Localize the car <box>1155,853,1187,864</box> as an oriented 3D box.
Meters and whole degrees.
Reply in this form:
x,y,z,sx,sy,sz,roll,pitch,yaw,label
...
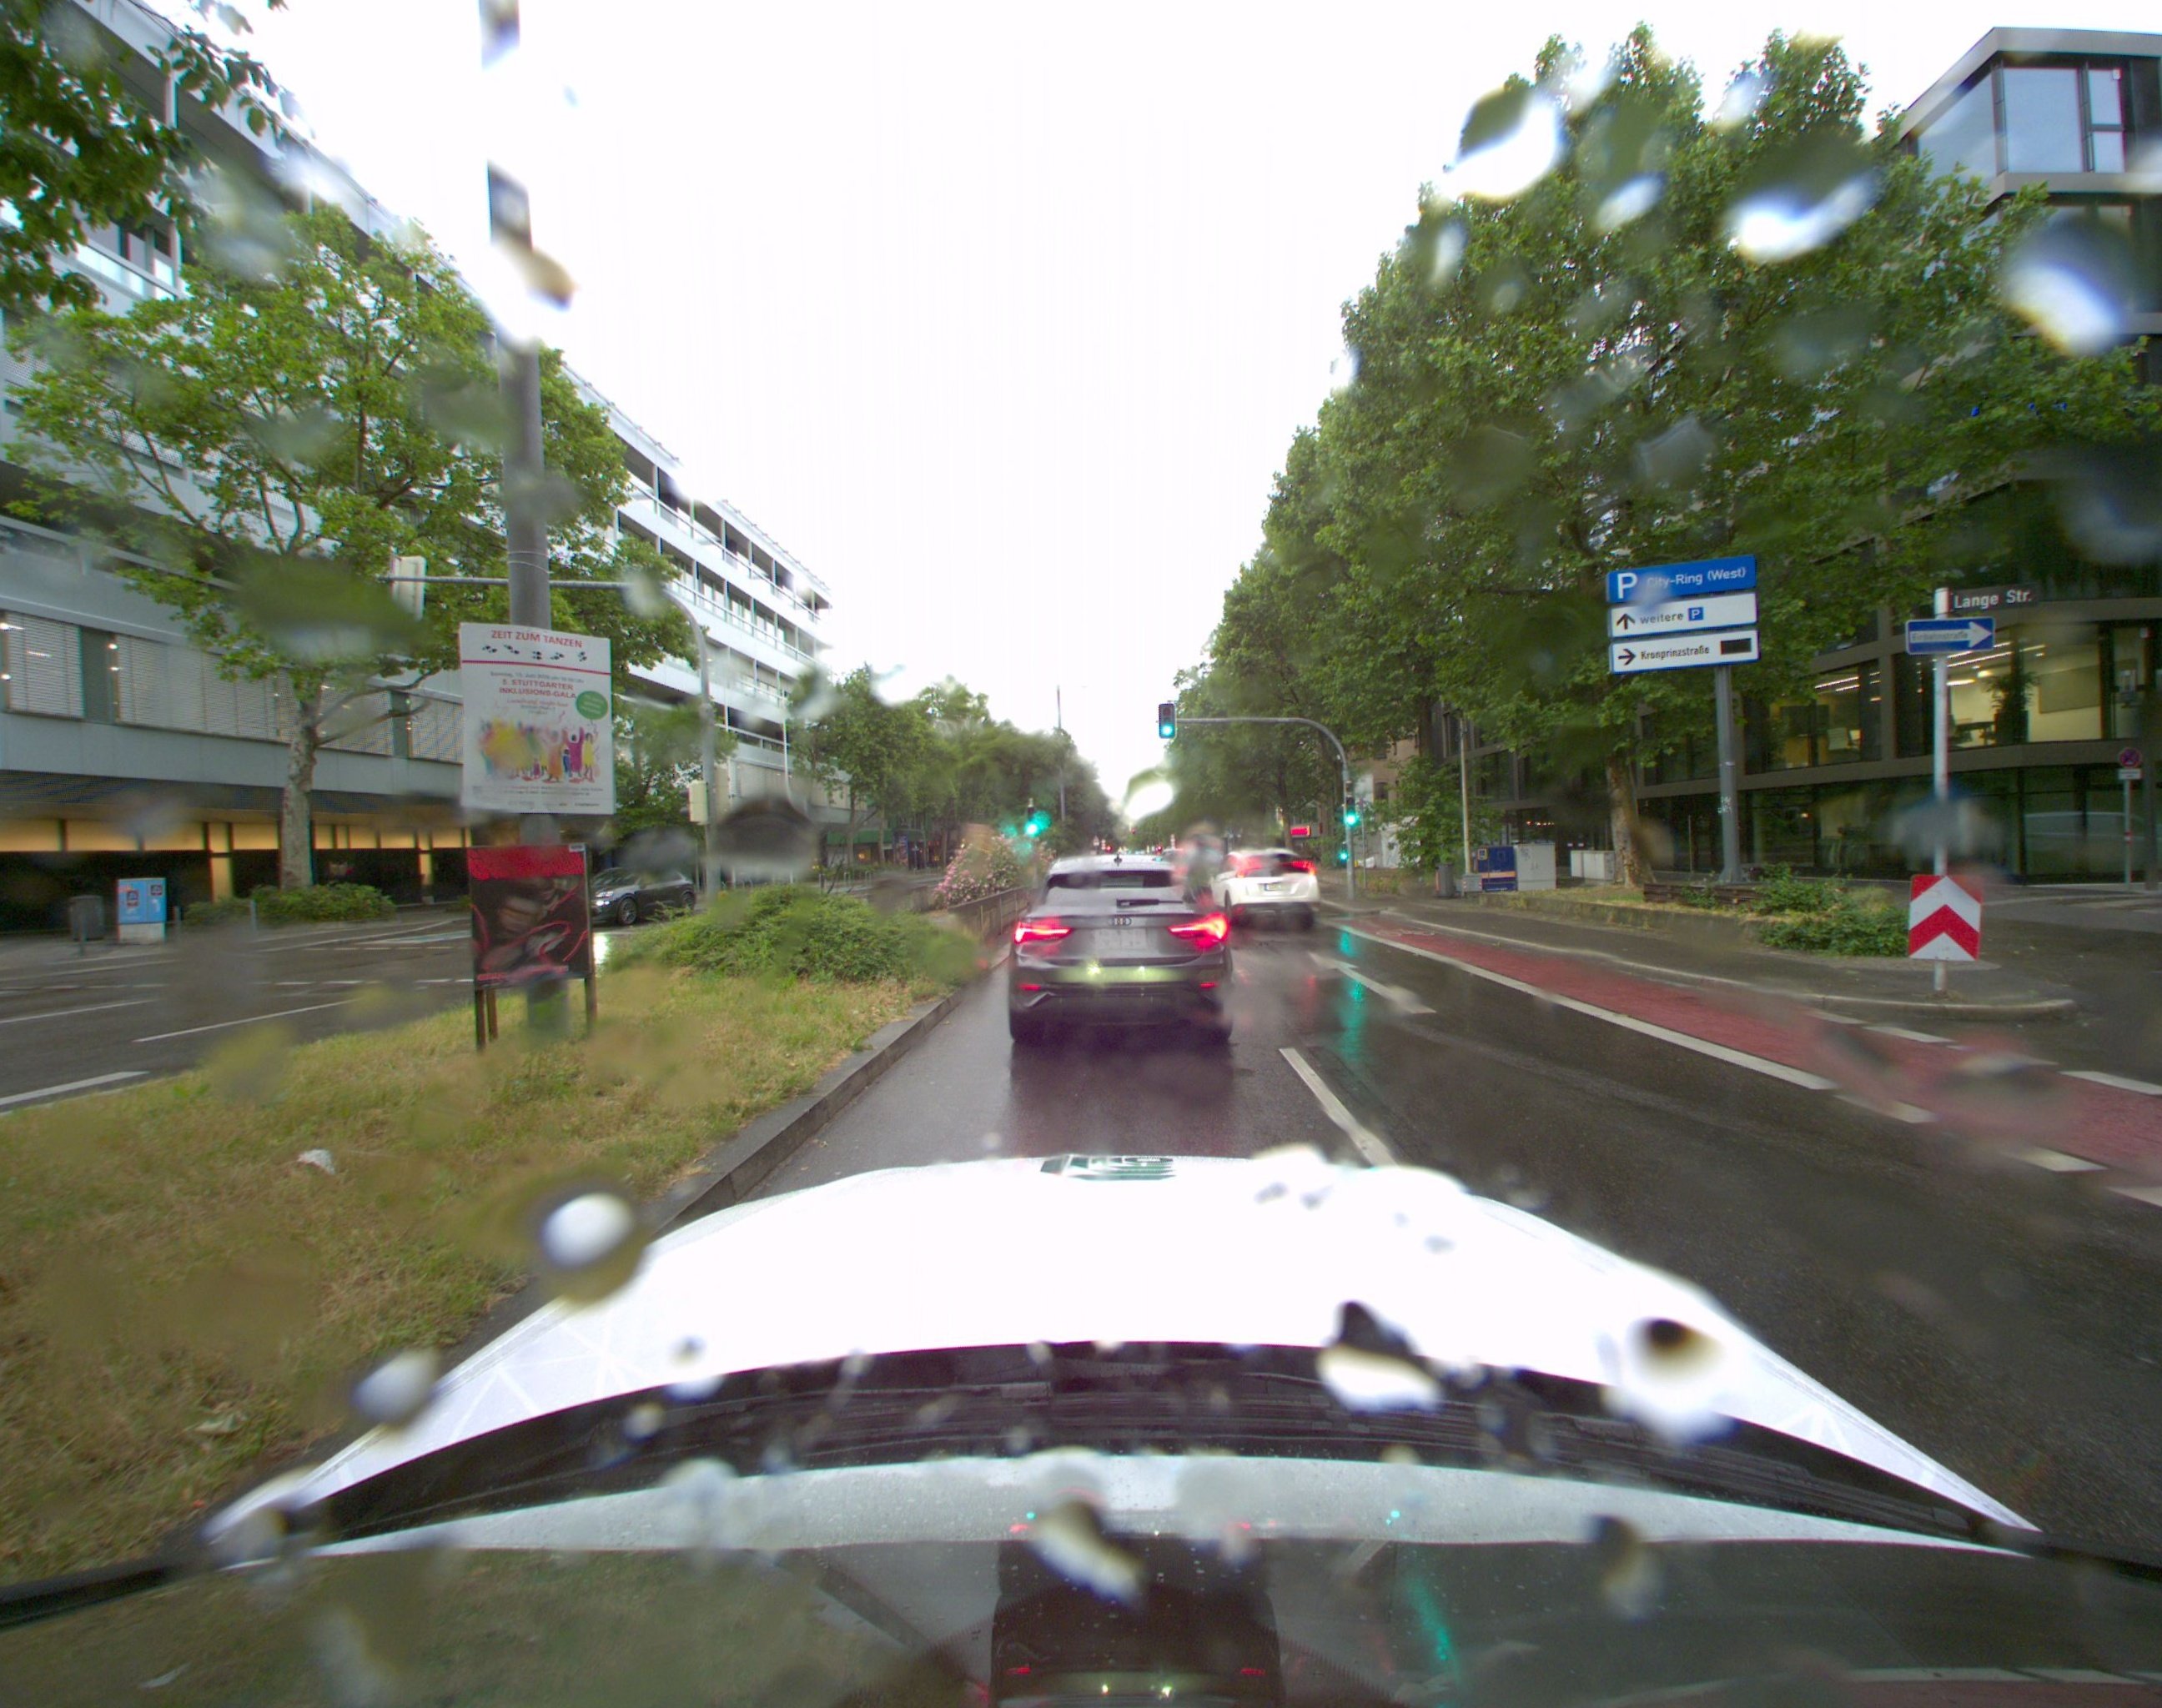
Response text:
x,y,z,sx,sy,sz,roll,pitch,yaw,label
14.027,0.741,127.191,4.594,1.706,2.012,-1,-1,30,car

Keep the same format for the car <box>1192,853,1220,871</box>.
x,y,z,sx,sy,sz,roll,pitch,yaw,label
10.404,0.679,68.104,1.865,1.421,4.614,0,0,3,car

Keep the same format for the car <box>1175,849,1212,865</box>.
x,y,z,sx,sy,sz,roll,pitch,yaw,label
15.044,0.427,108.768,4.548,2.014,1.980,-1,-1,41,car

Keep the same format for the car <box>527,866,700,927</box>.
x,y,z,sx,sy,sz,roll,pitch,yaw,label
-13.377,1.155,23.746,1.900,1.584,4.754,0,-1,6,car

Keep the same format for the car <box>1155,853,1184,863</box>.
x,y,z,sx,sy,sz,roll,pitch,yaw,label
15.303,0.733,140.406,4.594,1.706,2.012,-1,-1,30,car

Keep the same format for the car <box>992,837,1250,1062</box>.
x,y,z,sx,sy,sz,roll,pitch,yaw,label
0.351,0.705,7.939,1.842,1.602,4.001,-1,0,2,car

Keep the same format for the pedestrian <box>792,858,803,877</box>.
x,y,z,sx,sy,sz,roll,pitch,yaw,label
-22.362,1.080,64.220,0.608,1.482,0.574,0,-1,-1,pedestrian

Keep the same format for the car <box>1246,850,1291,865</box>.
x,y,z,sx,sy,sz,roll,pitch,yaw,label
13.540,0.266,58.882,2.856,1.074,1.465,-1,-1,33,car

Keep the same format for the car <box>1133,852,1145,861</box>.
x,y,z,sx,sy,sz,roll,pitch,yaw,label
10.729,0.405,150.938,1.985,1.651,4.003,0,-1,3,car

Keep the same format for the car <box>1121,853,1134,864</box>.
x,y,z,sx,sy,sz,roll,pitch,yaw,label
7.262,0.662,127.905,1.986,1.726,4.002,0,-1,2,car

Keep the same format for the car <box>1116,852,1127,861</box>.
x,y,z,sx,sy,sz,roll,pitch,yaw,label
7.414,0.385,148.970,1.889,1.599,3.940,0,-1,2,car

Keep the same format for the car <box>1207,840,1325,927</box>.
x,y,z,sx,sy,sz,roll,pitch,yaw,label
3.935,0.606,18.018,1.870,1.697,4.002,0,-1,3,car

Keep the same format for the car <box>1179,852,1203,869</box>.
x,y,z,sx,sy,sz,roll,pitch,yaw,label
10.617,0.618,78.967,1.723,1.571,4.070,0,-1,-2,car

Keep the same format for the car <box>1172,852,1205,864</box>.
x,y,z,sx,sy,sz,roll,pitch,yaw,label
16.187,0.662,122.786,4.594,1.706,2.012,-1,-1,30,car
